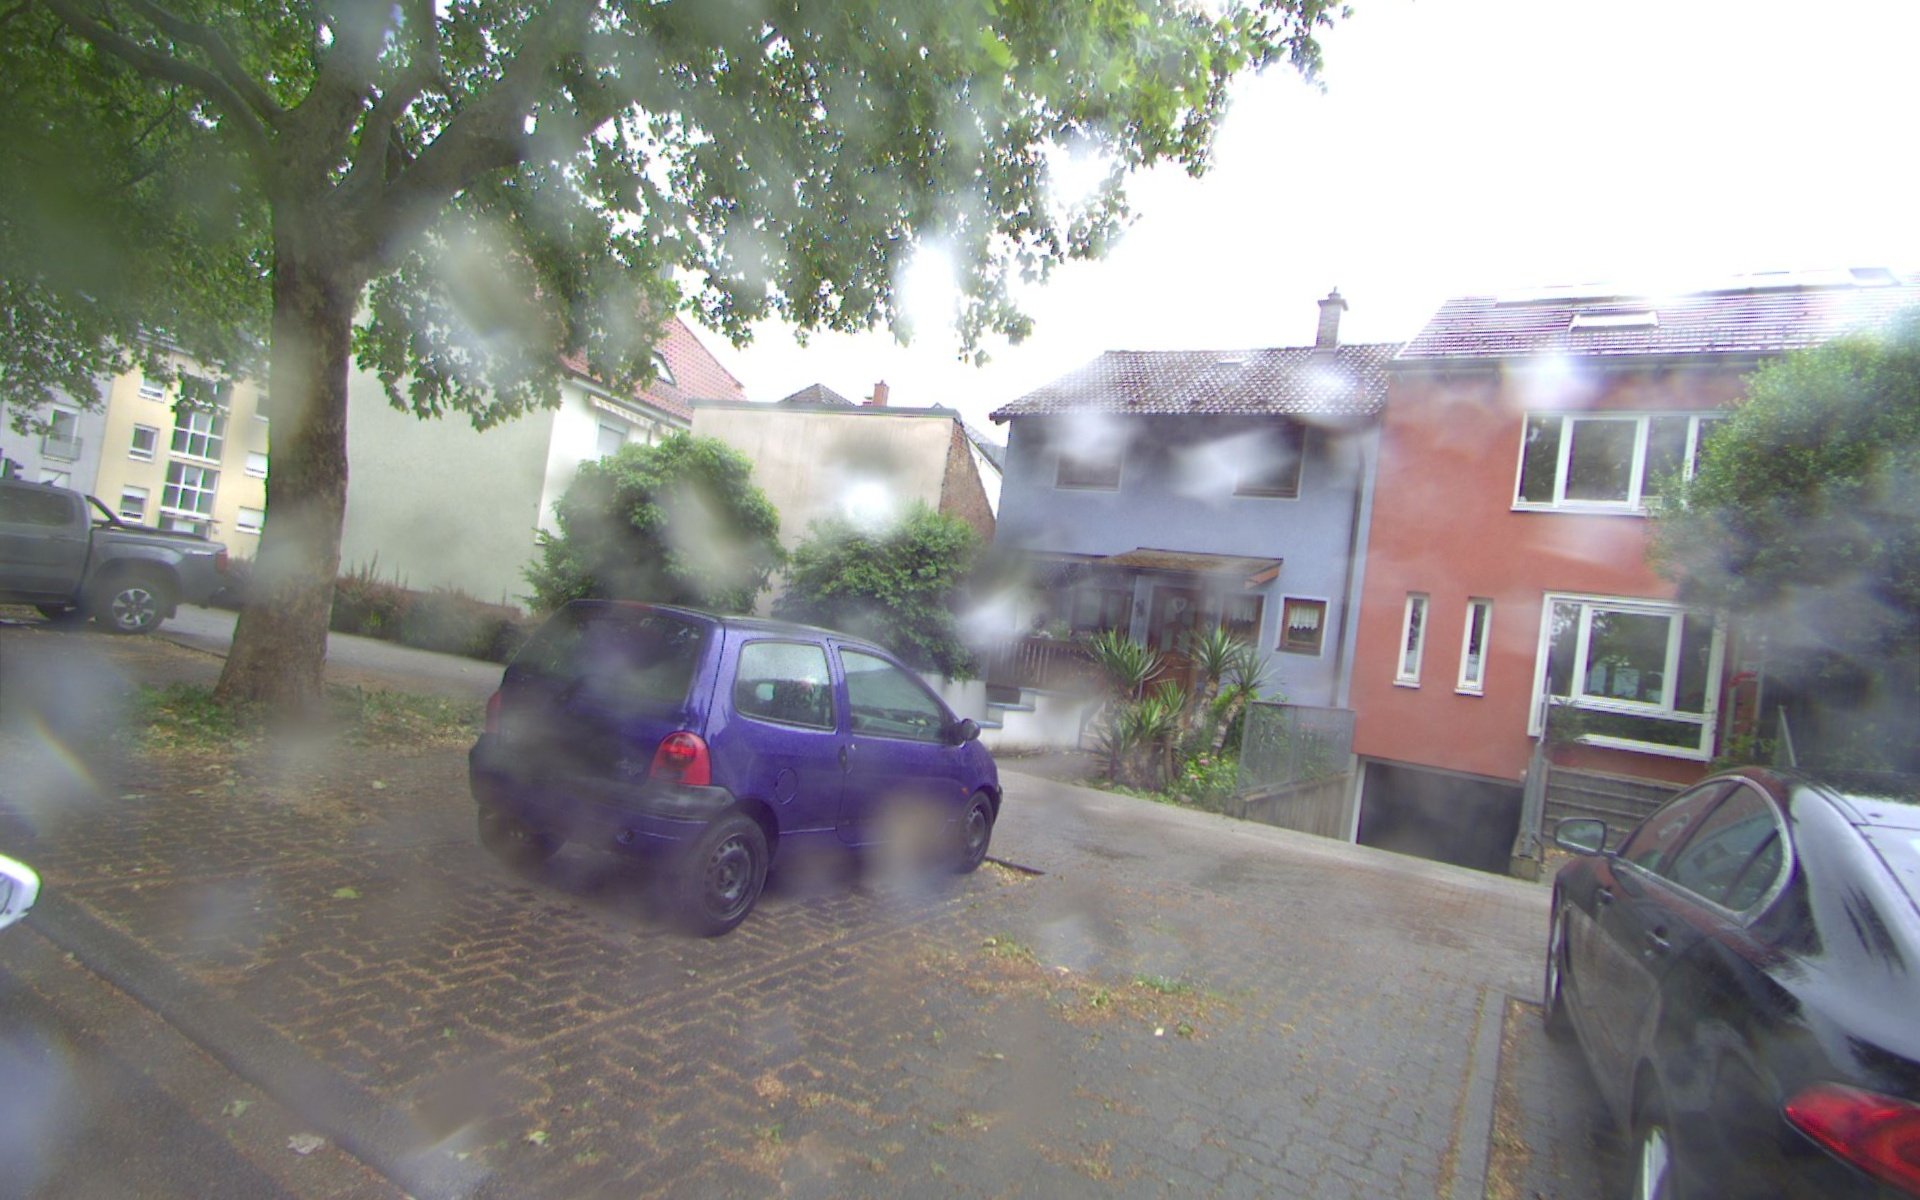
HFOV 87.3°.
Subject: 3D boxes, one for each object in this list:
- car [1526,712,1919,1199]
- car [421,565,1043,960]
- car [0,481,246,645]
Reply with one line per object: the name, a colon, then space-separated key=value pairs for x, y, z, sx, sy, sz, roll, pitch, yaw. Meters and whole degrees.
car: x=2.994 y=1.236 z=2.972 sx=1.903 sy=1.489 sz=4.781 roll=7 pitch=-2 yaw=27
car: x=-1.022 y=0.830 z=5.957 sx=1.591 sy=1.480 sz=3.364 roll=7 pitch=-3 yaw=30
car: x=-12.329 y=-0.611 z=12.453 sx=1.812 sy=1.827 sz=5.357 roll=7 pitch=-2 yaw=25
